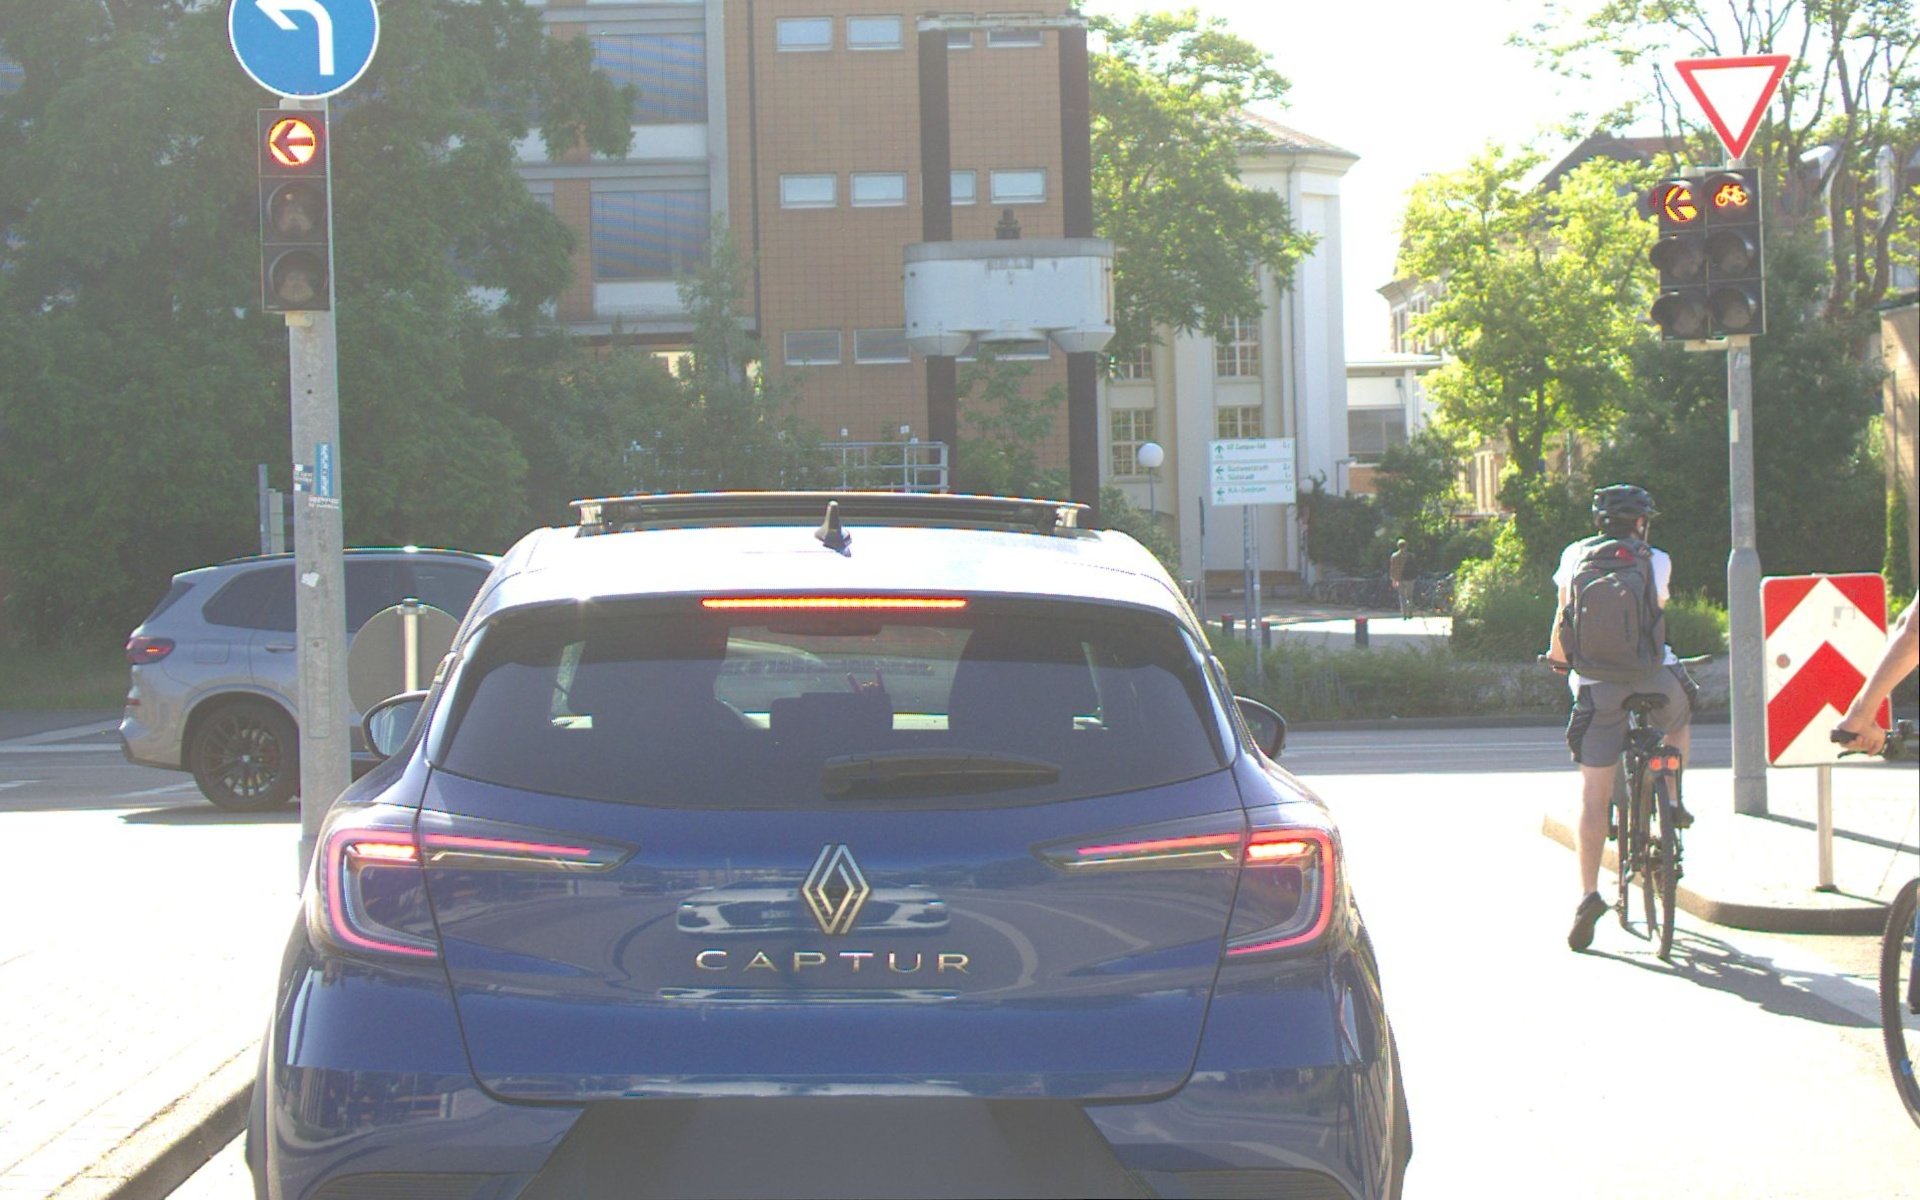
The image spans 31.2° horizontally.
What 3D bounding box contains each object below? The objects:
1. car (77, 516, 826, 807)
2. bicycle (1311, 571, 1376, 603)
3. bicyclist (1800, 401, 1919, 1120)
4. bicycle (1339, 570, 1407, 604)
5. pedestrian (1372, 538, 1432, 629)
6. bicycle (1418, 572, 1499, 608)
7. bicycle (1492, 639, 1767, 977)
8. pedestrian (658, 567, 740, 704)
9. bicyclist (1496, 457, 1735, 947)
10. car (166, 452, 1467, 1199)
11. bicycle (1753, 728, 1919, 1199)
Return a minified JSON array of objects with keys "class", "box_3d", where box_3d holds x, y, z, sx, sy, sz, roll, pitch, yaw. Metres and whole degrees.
[{"class":"car","box_3d":[-3.454,0.407,23.847,4.728,1.854,2.004,-1,1,8]},{"class":"bicycle","box_3d":[11.063,-0.383,99.215,1.771,0.890,0.765,-1,1,0]},{"class":"bicyclist","box_3d":[2.442,0.349,7.970,0.674,1.577,1.081,1,1,-1]},{"class":"bicycle","box_3d":[11.401,-0.352,94.851,1.771,0.895,0.765,-1,1,0]},{"class":"pedestrian","box_3d":[10.002,-0.382,77.821,1.156,2.007,1.164,-1,1,0]},{"class":"bicycle","box_3d":[12.032,-0.239,83.049,1.770,0.820,0.766,-1,1,-10]},{"class":"bicycle","box_3d":[2.486,0.740,12.952,0.615,1.134,1.826,0,1,-2]},{"class":"pedestrian","box_3d":[-3.592,0.479,47.427,0.932,1.849,0.807,-1,1,9]},{"class":"bicyclist","box_3d":[2.466,0.370,13.008,0.676,1.779,0.940,1,0,-2]},{"class":"car","box_3d":[-0.250,0.590,6.690,1.794,1.649,3.853,0,1,-2]},{"class":"bicycle","box_3d":[2.435,0.874,8.034,0.671,1.047,1.844,1,1,-2]}]
